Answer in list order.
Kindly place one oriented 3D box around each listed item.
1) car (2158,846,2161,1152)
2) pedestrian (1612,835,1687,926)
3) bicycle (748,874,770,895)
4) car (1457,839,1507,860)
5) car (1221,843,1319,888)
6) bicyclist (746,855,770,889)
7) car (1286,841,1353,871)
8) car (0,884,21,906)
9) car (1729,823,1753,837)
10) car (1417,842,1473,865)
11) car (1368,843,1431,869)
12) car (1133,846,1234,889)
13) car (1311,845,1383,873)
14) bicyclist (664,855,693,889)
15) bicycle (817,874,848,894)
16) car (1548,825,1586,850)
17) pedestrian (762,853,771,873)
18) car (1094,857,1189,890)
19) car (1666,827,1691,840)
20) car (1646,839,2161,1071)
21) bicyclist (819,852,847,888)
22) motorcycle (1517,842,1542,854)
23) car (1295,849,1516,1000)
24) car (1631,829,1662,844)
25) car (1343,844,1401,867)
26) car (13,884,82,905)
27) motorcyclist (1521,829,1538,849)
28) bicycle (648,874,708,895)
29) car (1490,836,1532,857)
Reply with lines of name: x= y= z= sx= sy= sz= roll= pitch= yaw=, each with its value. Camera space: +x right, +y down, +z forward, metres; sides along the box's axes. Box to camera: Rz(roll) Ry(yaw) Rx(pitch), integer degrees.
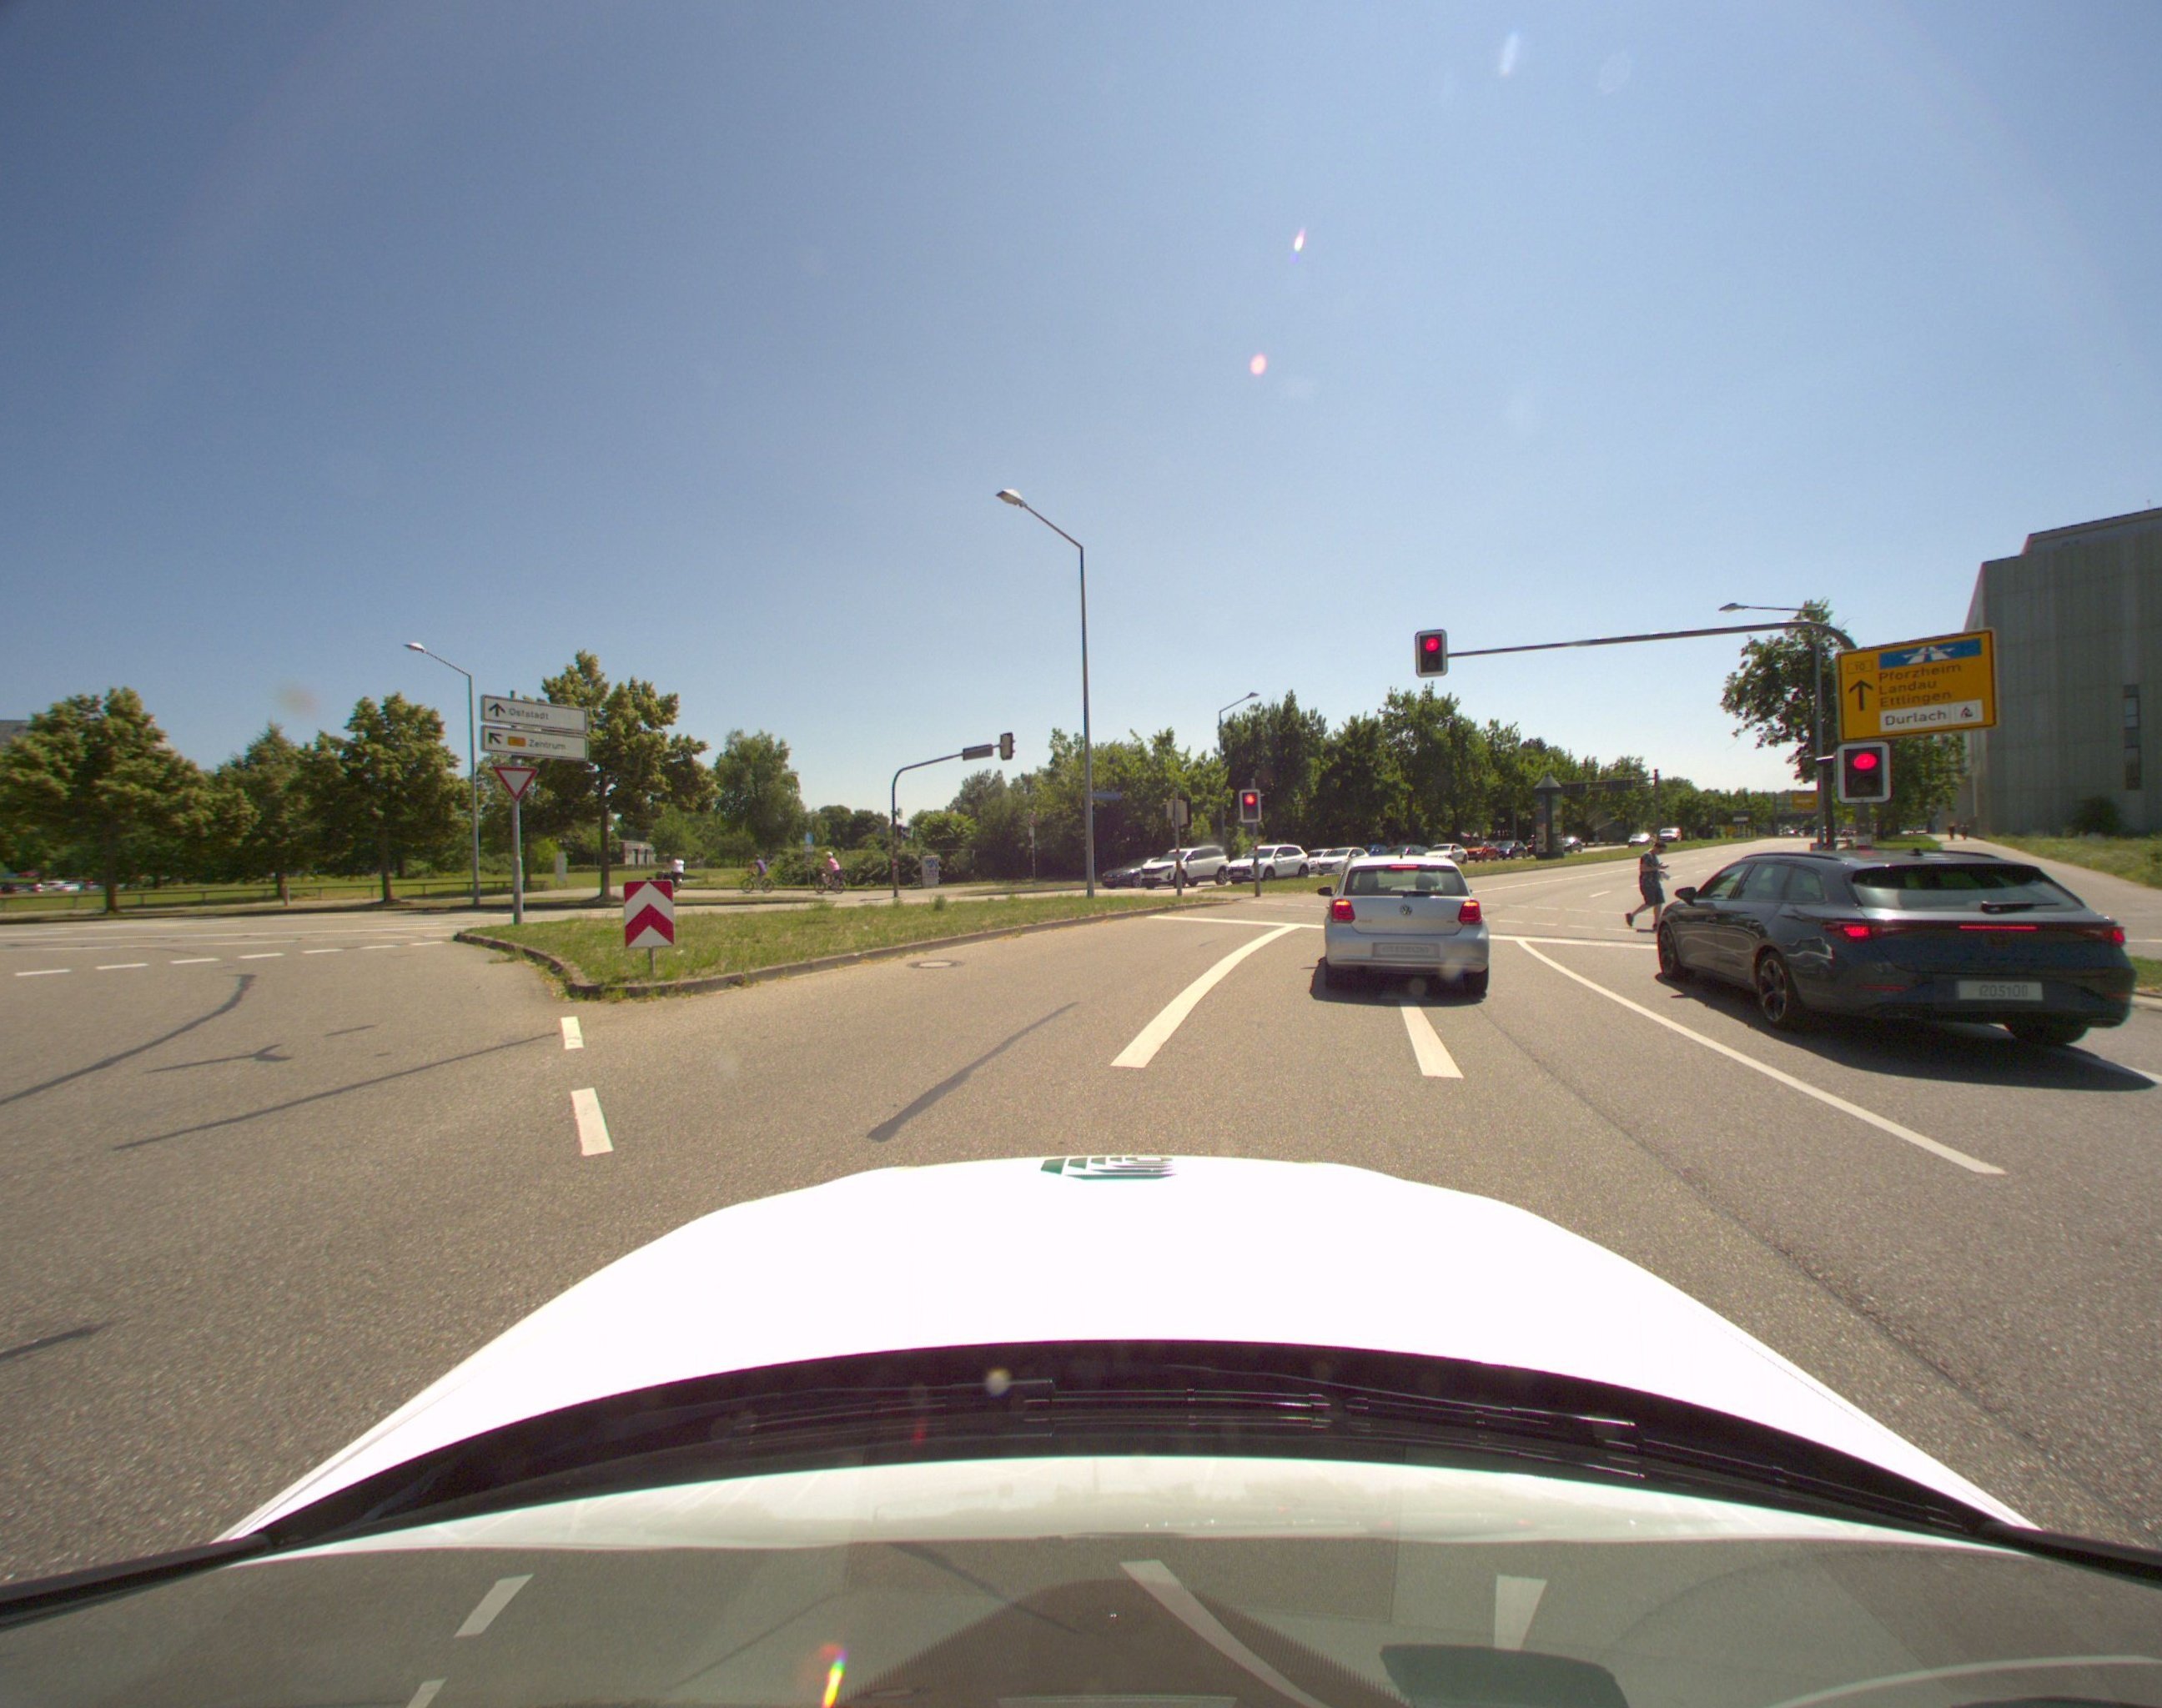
car: x=5.326 y=0.686 z=1.551 sx=1.735 sy=1.403 sz=4.095 roll=-1 pitch=1 yaw=13
pedestrian: x=10.595 y=0.482 z=15.194 sx=0.761 sy=1.637 sz=0.945 roll=-1 pitch=-2 yaw=-43
bicycle: x=-15.108 y=1.428 z=38.177 sx=0.900 sy=0.900 sz=1.748 roll=0 pitch=1 yaw=-24
car: x=29.228 y=-0.362 z=59.242 sx=4.433 sy=1.422 sz=1.842 roll=-2 pitch=0 yaw=-44
car: x=7.961 y=0.445 z=34.102 sx=4.433 sy=1.683 sz=1.842 roll=-2 pitch=0 yaw=-44
bicyclist: x=-15.145 y=0.824 z=38.180 sx=0.961 sy=1.531 sz=1.176 roll=-2 pitch=1 yaw=-25
car: x=14.387 y=0.111 z=48.949 sx=4.433 sy=1.683 sz=1.842 roll=-2 pitch=0 yaw=-44
car: x=-104.347 y=3.962 z=77.530 sx=1.975 sy=2.014 sz=4.024 roll=-3 pitch=-2 yaw=43
car: x=83.583 y=-2.994 z=103.055 sx=4.166 sy=1.692 sz=1.784 roll=-1 pitch=-2 yaw=-44
car: x=24.211 y=-0.047 z=54.159 sx=4.433 sy=1.422 sz=1.842 roll=-2 pitch=0 yaw=-44
car: x=19.310 y=0.102 z=49.322 sx=4.433 sy=1.422 sz=1.842 roll=-2 pitch=0 yaw=-44
car: x=4.388 y=0.534 z=34.485 sx=4.433 sy=1.618 sz=1.842 roll=-2 pitch=0 yaw=-44
car: x=14.616 y=0.250 z=44.670 sx=4.433 sy=1.422 sz=1.842 roll=-2 pitch=0 yaw=-44
bicyclist: x=-19.793 y=0.897 z=40.055 sx=0.967 sy=1.614 sz=0.760 roll=-3 pitch=-1 yaw=20
bicycle: x=-11.358 y=1.362 z=37.152 sx=0.901 sy=0.900 sz=2.205 roll=0 pitch=-1 yaw=-30
car: x=43.387 y=-1.453 z=72.675 sx=1.975 sy=2.014 sz=4.023 roll=-4 pitch=-2 yaw=45
pedestrian: x=-27.596 y=0.823 z=71.377 sx=0.573 sy=1.731 sz=0.672 roll=-2 pitch=-1 yaw=-13
car: x=2.854 y=0.867 z=37.505 sx=4.433 sy=1.270 sz=1.842 roll=-2 pitch=0 yaw=-44
car: x=72.501 y=-2.503 z=98.757 sx=1.846 sy=1.554 sz=4.024 roll=-1 pitch=0 yaw=45
car: x=6.912 y=0.611 z=7.402 sx=1.976 sy=1.418 sz=4.480 roll=-2 pitch=1 yaw=22
bicyclist: x=-11.299 y=0.731 z=37.072 sx=0.963 sy=1.610 sz=1.174 roll=-2 pitch=-1 yaw=-30
motorcycle: x=36.662 y=-0.489 z=66.575 sx=2.831 sy=0.952 sz=0.887 roll=-1 pitch=-2 yaw=-41
car: x=3.697 y=0.694 z=9.996 sx=1.765 sy=1.422 sz=4.012 roll=-2 pitch=1 yaw=11
car: x=58.502 y=-1.832 z=84.210 sx=4.023 sy=1.488 sz=1.952 roll=-2 pitch=0 yaw=-44
car: x=19.250 y=0.095 z=53.772 sx=4.433 sy=1.422 sz=1.842 roll=-2 pitch=0 yaw=-44
car: x=-105.536 y=4.122 z=83.254 sx=4.020 sy=2.014 sz=1.976 roll=-1 pitch=-2 yaw=-40
motorcyclist: x=36.742 y=-1.201 z=66.692 sx=1.016 sy=1.586 sz=0.897 roll=-1 pitch=-2 yaw=-42
bicycle: x=-19.842 y=1.520 z=40.064 sx=2.897 sy=0.912 sz=0.744 roll=-3 pitch=-1 yaw=17
car: x=32.974 y=-0.572 z=62.415 sx=1.699 sy=1.475 sz=3.819 roll=-4 pitch=-2 yaw=45
